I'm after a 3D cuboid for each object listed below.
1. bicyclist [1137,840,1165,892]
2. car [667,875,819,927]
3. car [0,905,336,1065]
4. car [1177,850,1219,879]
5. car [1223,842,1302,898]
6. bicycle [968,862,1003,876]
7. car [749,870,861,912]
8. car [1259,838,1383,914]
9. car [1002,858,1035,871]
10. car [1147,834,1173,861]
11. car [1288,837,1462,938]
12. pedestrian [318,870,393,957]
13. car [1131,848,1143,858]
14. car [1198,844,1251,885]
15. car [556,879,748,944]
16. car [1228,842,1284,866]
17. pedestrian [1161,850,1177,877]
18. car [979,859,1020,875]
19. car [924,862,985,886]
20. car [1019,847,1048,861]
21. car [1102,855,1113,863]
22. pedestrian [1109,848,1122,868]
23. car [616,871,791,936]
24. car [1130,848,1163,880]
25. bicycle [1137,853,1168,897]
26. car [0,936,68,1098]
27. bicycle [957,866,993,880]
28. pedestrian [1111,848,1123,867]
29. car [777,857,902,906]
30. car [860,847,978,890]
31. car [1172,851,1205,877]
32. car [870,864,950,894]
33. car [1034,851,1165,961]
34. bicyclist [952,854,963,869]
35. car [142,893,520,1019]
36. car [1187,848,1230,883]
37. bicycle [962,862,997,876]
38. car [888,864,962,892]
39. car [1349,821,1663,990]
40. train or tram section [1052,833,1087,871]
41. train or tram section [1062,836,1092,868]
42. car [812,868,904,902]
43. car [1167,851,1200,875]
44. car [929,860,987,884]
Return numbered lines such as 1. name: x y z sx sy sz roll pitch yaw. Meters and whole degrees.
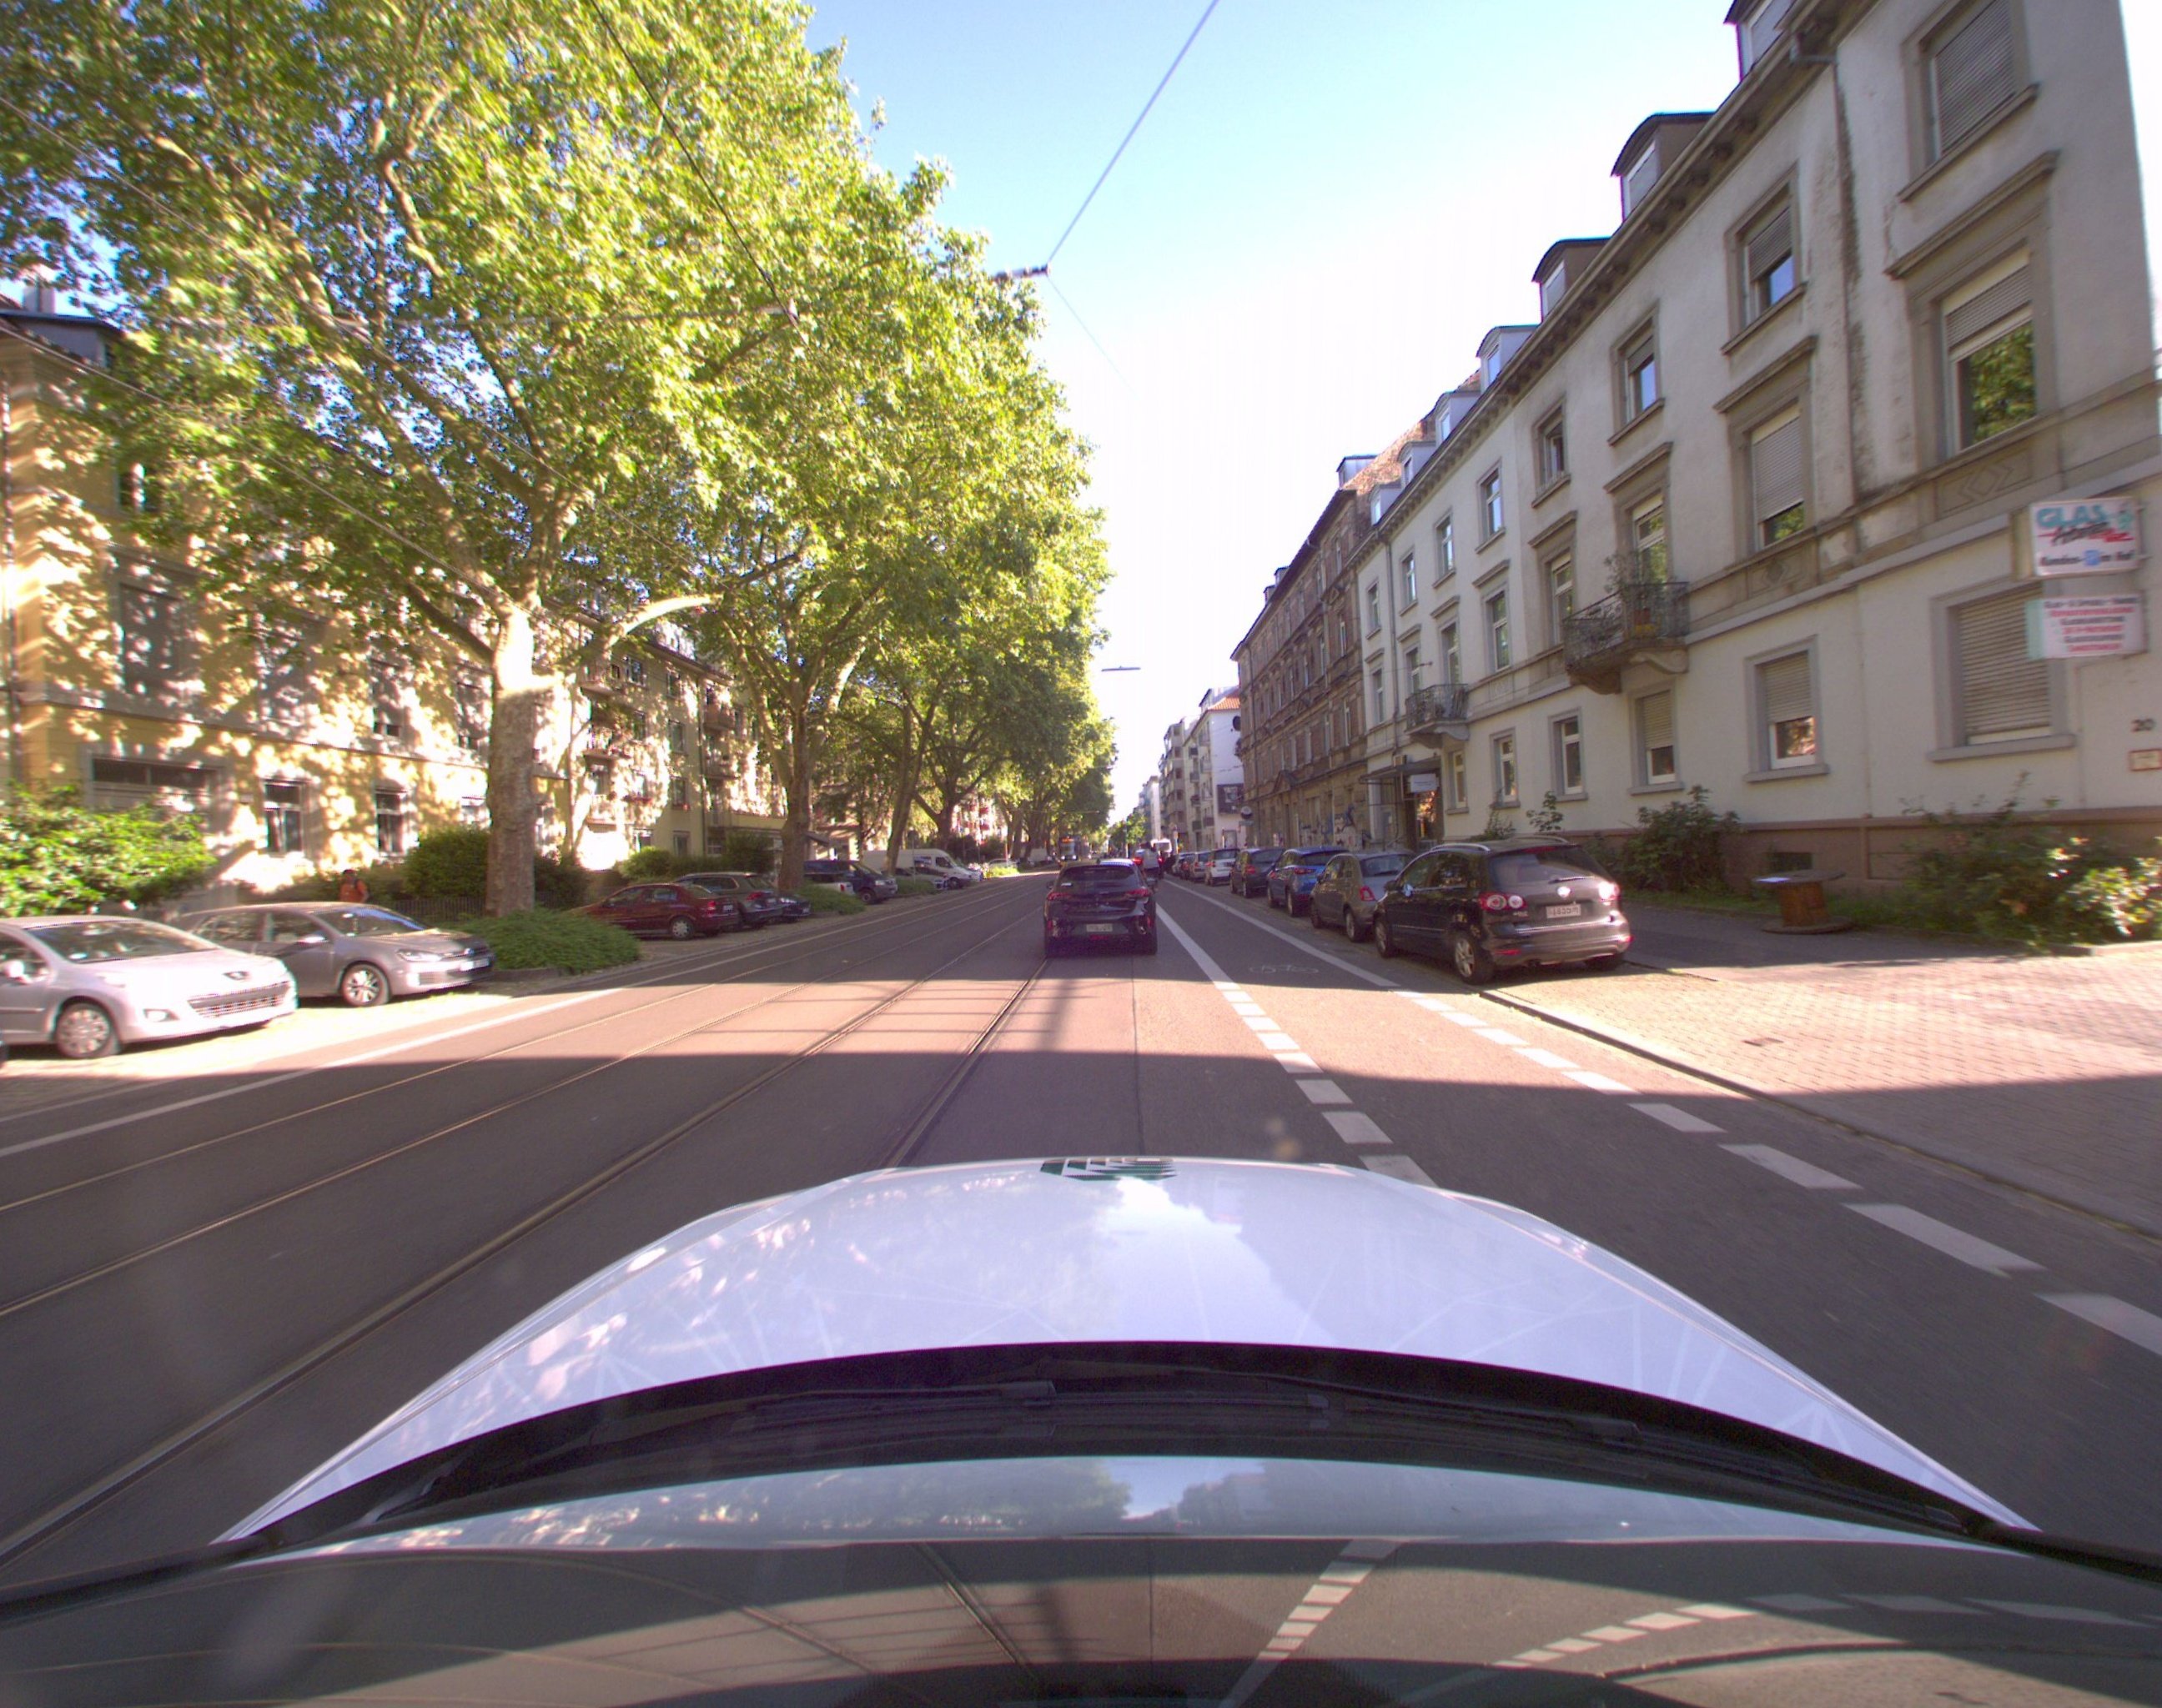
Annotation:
1. bicyclist: 2.431 0.424 28.379 0.845 1.740 1.162 -2 0 1
2. car: -10.423 1.423 25.312 3.907 1.421 1.818 -1 0 0
3. car: -11.247 1.444 9.233 3.907 1.453 1.800 -3 0 1
4. car: 6.359 0.546 44.497 1.802 1.338 3.936 -6 0 3
5. car: 5.714 0.467 26.038 1.704 1.483 3.766 -6 0 3
6. bicycle: -8.731 1.382 74.366 2.919 1.169 0.995 -2 0 18
7. car: -10.708 1.422 31.797 3.720 1.498 1.747 -1 0 1
8. car: 5.612 0.478 19.594 1.872 1.456 4.029 -6 0 3
9. car: -7.778 1.298 101.887 3.908 1.498 1.676 -1 0 -1
10. car: 7.486 -0.592 77.251 2.067 2.219 4.937 -6 0 3
11. car: 5.243 0.553 15.090 1.792 1.456 3.769 -6 0 1
12. pedestrian: -16.258 1.315 18.265 0.863 1.849 0.836 -2 0 -6
13. car: 8.757 -0.204 127.678 1.802 1.338 3.936 -6 0 3
14. car: 6.033 0.443 34.601 1.563 1.517 3.040 -6 0 0
15. car: -10.799 1.423 20.659 3.905 1.442 1.750 -1 0 2
16. car: 15.001 -0.003 69.814 4.362 1.798 1.877 -2 0 1
17. pedestrian: 5.231 0.550 48.378 0.862 1.567 0.769 -2 0 5
18. car: -8.054 1.243 80.823 3.908 1.498 1.676 -1 0 -1
19. car: -8.745 1.359 56.425 3.908 1.498 1.676 -1 0 -1
20. car: -6.458 0.012 111.251 3.908 1.790 1.676 -1 0 -1
21. car: 4.819 0.834 149.218 1.803 1.338 3.933 -3 0 1
22. pedestrian: 2.835 0.312 66.988 0.672 1.567 0.773 -3 0 28
23. car: -10.504 1.350 22.883 3.980 1.627 1.880 -1 0 1
24. car: 3.861 0.551 48.319 1.802 1.742 3.936 -3 0 3
25. bicycle: 2.452 0.704 28.309 0.857 1.407 2.524 -2 0 1
26. car: -11.168 1.449 6.509 3.904 1.332 1.849 -1 0 2
27. bicycle: -9.381 1.699 72.208 2.919 1.169 0.995 -2 0 18
28. pedestrian: 2.987 0.307 67.801 0.672 1.567 0.773 -3 0 28
29. car: -10.219 1.144 34.715 4.656 1.924 1.981 -1 0 3
30. car: -9.814 0.879 49.817 6.602 2.409 2.459 -1 0 2
31. car: 6.646 0.585 50.619 1.655 1.419 3.936 -6 0 3
32. car: -9.208 1.327 44.108 3.903 1.498 1.678 -1 0 3
33. car: 0.319 0.735 13.287 1.787 1.441 3.533 -2 1 2
34. bicyclist: -14.242 0.868 93.817 0.984 1.756 1.154 -2 0 0
35. car: -10.940 1.443 12.086 3.905 1.462 1.806 -3 0 2
36. car: 6.139 0.529 39.655 1.697 1.456 3.702 -6 0 5
37. bicycle: -9.115 1.369 73.290 2.919 1.169 0.995 -2 0 18
38. car: -9.005 1.355 47.274 3.908 1.498 1.677 -1 0 -1
39. car: 5.126 0.553 10.548 1.874 1.585 3.932 -6 0 0
40. train or tram section: -1.127 -0.212 89.856 2.723 3.681 12.726 -4 0 3
41. train or tram section: -0.402 -0.230 102.496 2.723 3.681 12.726 -4 0 3
42. car: -10.196 1.424 37.419 3.720 1.430 1.638 -1 0 1
43. car: 6.939 0.570 55.411 1.802 1.379 3.936 -6 0 3
44. car: -8.902 1.304 58.950 3.908 1.577 1.676 -1 0 -1
